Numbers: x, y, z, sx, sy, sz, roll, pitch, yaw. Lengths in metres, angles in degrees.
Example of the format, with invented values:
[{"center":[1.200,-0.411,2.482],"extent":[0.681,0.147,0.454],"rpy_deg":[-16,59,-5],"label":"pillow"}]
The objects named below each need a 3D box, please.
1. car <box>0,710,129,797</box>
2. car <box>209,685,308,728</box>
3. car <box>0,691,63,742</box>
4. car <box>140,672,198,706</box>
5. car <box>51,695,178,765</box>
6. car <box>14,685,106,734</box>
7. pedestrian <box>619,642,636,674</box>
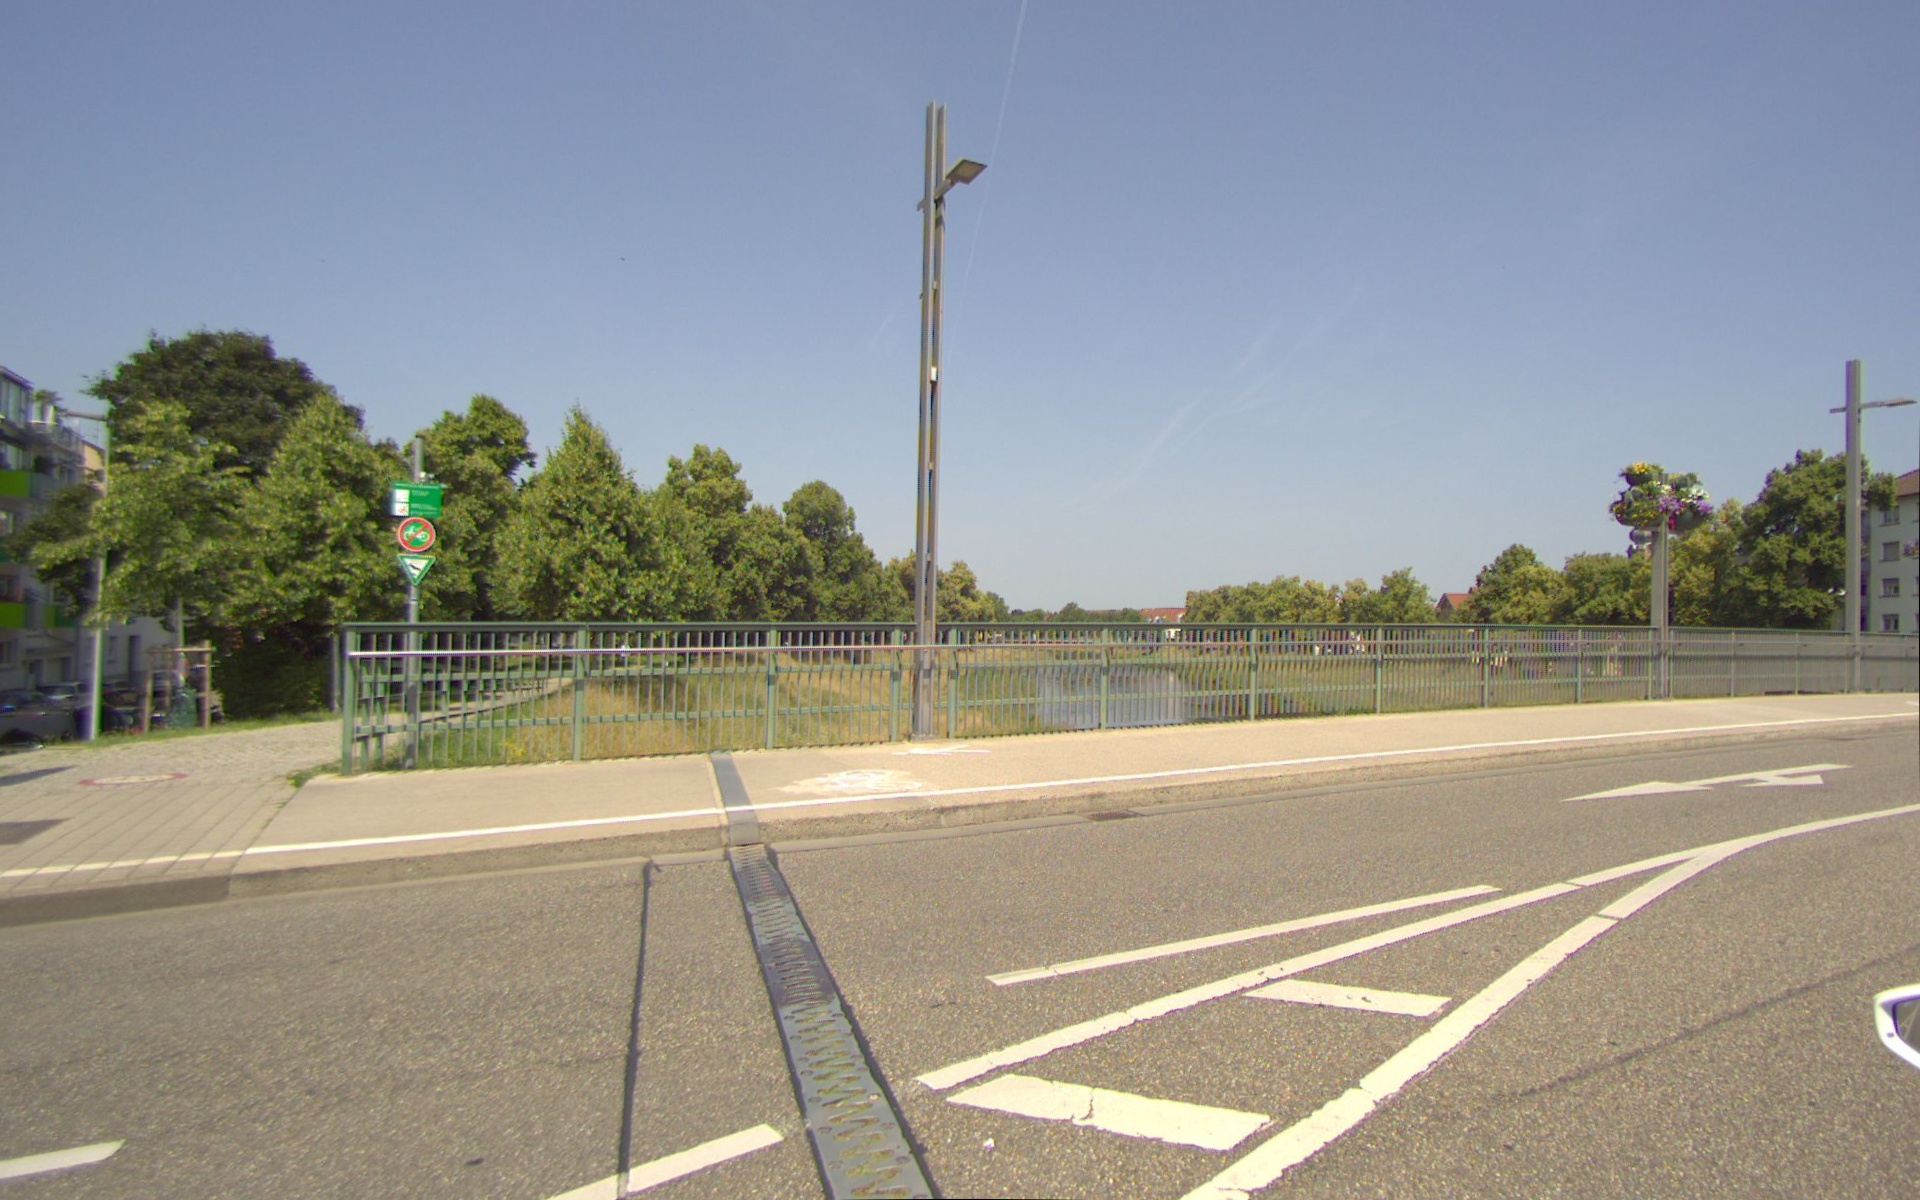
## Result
[{"center":[-21.683,3.598,24.012],"extent":[1.975,1.671,3.973],"rpy_deg":[0,-3,-28],"label":"car"},{"center":[-31.200,4.704,44.847],"extent":[1.963,1.671,3.996],"rpy_deg":[-1,-3,-7],"label":"car"},{"center":[-34.873,4.264,36.897],"extent":[1.976,1.671,3.971],"rpy_deg":[0,-3,-29],"label":"car"},{"center":[-44.884,5.014,57.083],"extent":[1.976,1.671,3.970],"rpy_deg":[0,-1,-29],"label":"car"},{"center":[-24.452,3.691,29.207],"extent":[1.975,1.671,3.973],"rpy_deg":[0,-3,-28],"label":"car"},{"center":[-37.487,4.511,41.951],"extent":[1.976,1.671,3.970],"rpy_deg":[0,-1,-29],"label":"car"},{"center":[-22.142,3.855,66.861],"extent":[0.873,2.040,0.720],"rpy_deg":[2,-1,-31],"label":"pedestrian"}]
